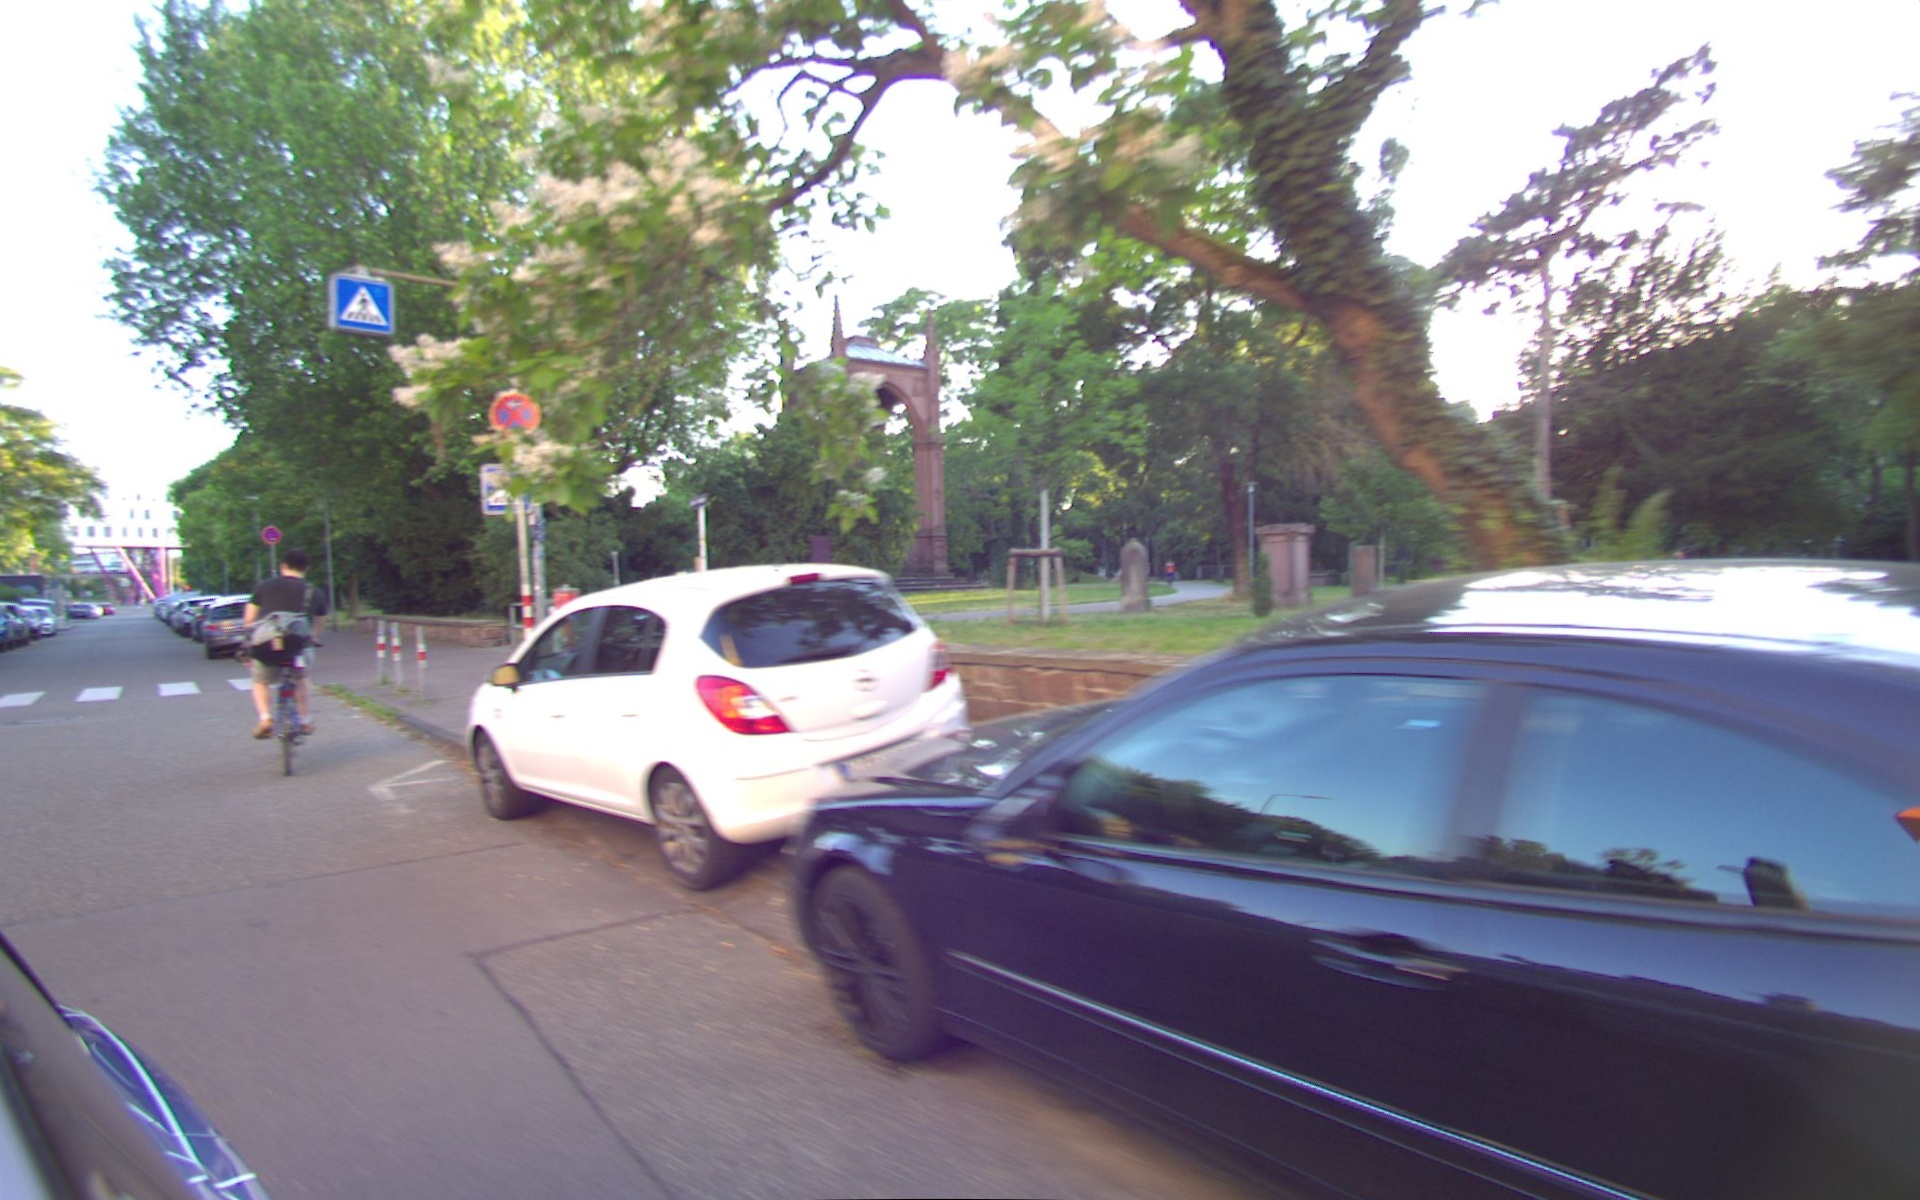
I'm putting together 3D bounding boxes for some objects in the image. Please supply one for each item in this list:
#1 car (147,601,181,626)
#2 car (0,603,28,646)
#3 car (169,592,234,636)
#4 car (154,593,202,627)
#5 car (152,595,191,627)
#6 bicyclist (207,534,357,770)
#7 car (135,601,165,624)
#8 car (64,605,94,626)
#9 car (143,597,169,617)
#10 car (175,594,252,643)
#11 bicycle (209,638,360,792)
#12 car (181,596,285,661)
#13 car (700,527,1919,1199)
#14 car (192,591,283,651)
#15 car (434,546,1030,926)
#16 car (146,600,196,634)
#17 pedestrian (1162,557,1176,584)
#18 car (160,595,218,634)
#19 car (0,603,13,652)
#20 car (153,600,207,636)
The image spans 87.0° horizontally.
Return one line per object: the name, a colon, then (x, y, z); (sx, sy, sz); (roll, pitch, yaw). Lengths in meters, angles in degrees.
car: (-66.106, 1.138, 84.039); (1.761, 1.808, 3.889); (-9, 5, -41)
car: (-35.298, 0.856, 36.918); (1.760, 1.511, 3.889); (3, -3, -42)
car: (-32.413, 0.582, 43.202); (1.761, 1.582, 3.889); (-9, 5, -41)
car: (-49.331, 0.631, 63.793); (1.937, 1.849, 3.889); (-9, 5, -41)
car: (-56.210, 0.796, 72.122); (1.761, 2.051, 3.889); (-9, 5, -41)
bicyclist: (-5.685, 0.401, 8.483); (0.848, 1.821, 1.017); (-2, 0, -44)
car: (-73.128, 1.145, 91.355); (1.761, 1.795, 4.017); (-9, 5, -41)
car: (-81.377, 1.424, 93.473); (1.969, 1.763, 4.005); (-3, 2, -41)
car: (-83.524, 0.757, 105.124); (1.761, 1.795, 4.017); (-9, 5, -42)
car: (-27.204, 0.648, 36.852); (1.761, 1.487, 3.889); (-9, 5, -41)
bicycle: (-5.747, 0.903, 8.562); (0.750, 1.105, 1.866); (0, -1, -44)
car: (-19.932, 0.744, 27.692); (1.761, 1.461, 3.889); (-9, 5, -41)
car: (1.160, 0.642, 2.567); (1.642, 1.426, 4.421); (-9, 5, -40)
car: (-22.706, 0.630, 31.753); (1.761, 1.588, 3.889); (-9, 5, -41)
car: (-1.618, 0.577, 6.191); (3.886, 1.525, 1.643); (-1, 4, 45)
car: (-43.472, 0.936, 55.742); (1.761, 1.582, 3.889); (-9, 5, -41)
pedestrian: (13.459, -1.879, 65.045); (0.657, 1.681, 0.668); (-1, 2, -9)
car: (-36.655, 0.669, 48.067); (1.761, 1.582, 3.889); (-9, 5, -41)
car: (-31.897, 0.846, 32.660); (1.760, 1.511, 3.889); (3, -3, -42)
car: (-39.790, 0.912, 51.616); (1.761, 1.582, 3.889); (-9, 5, -41)
